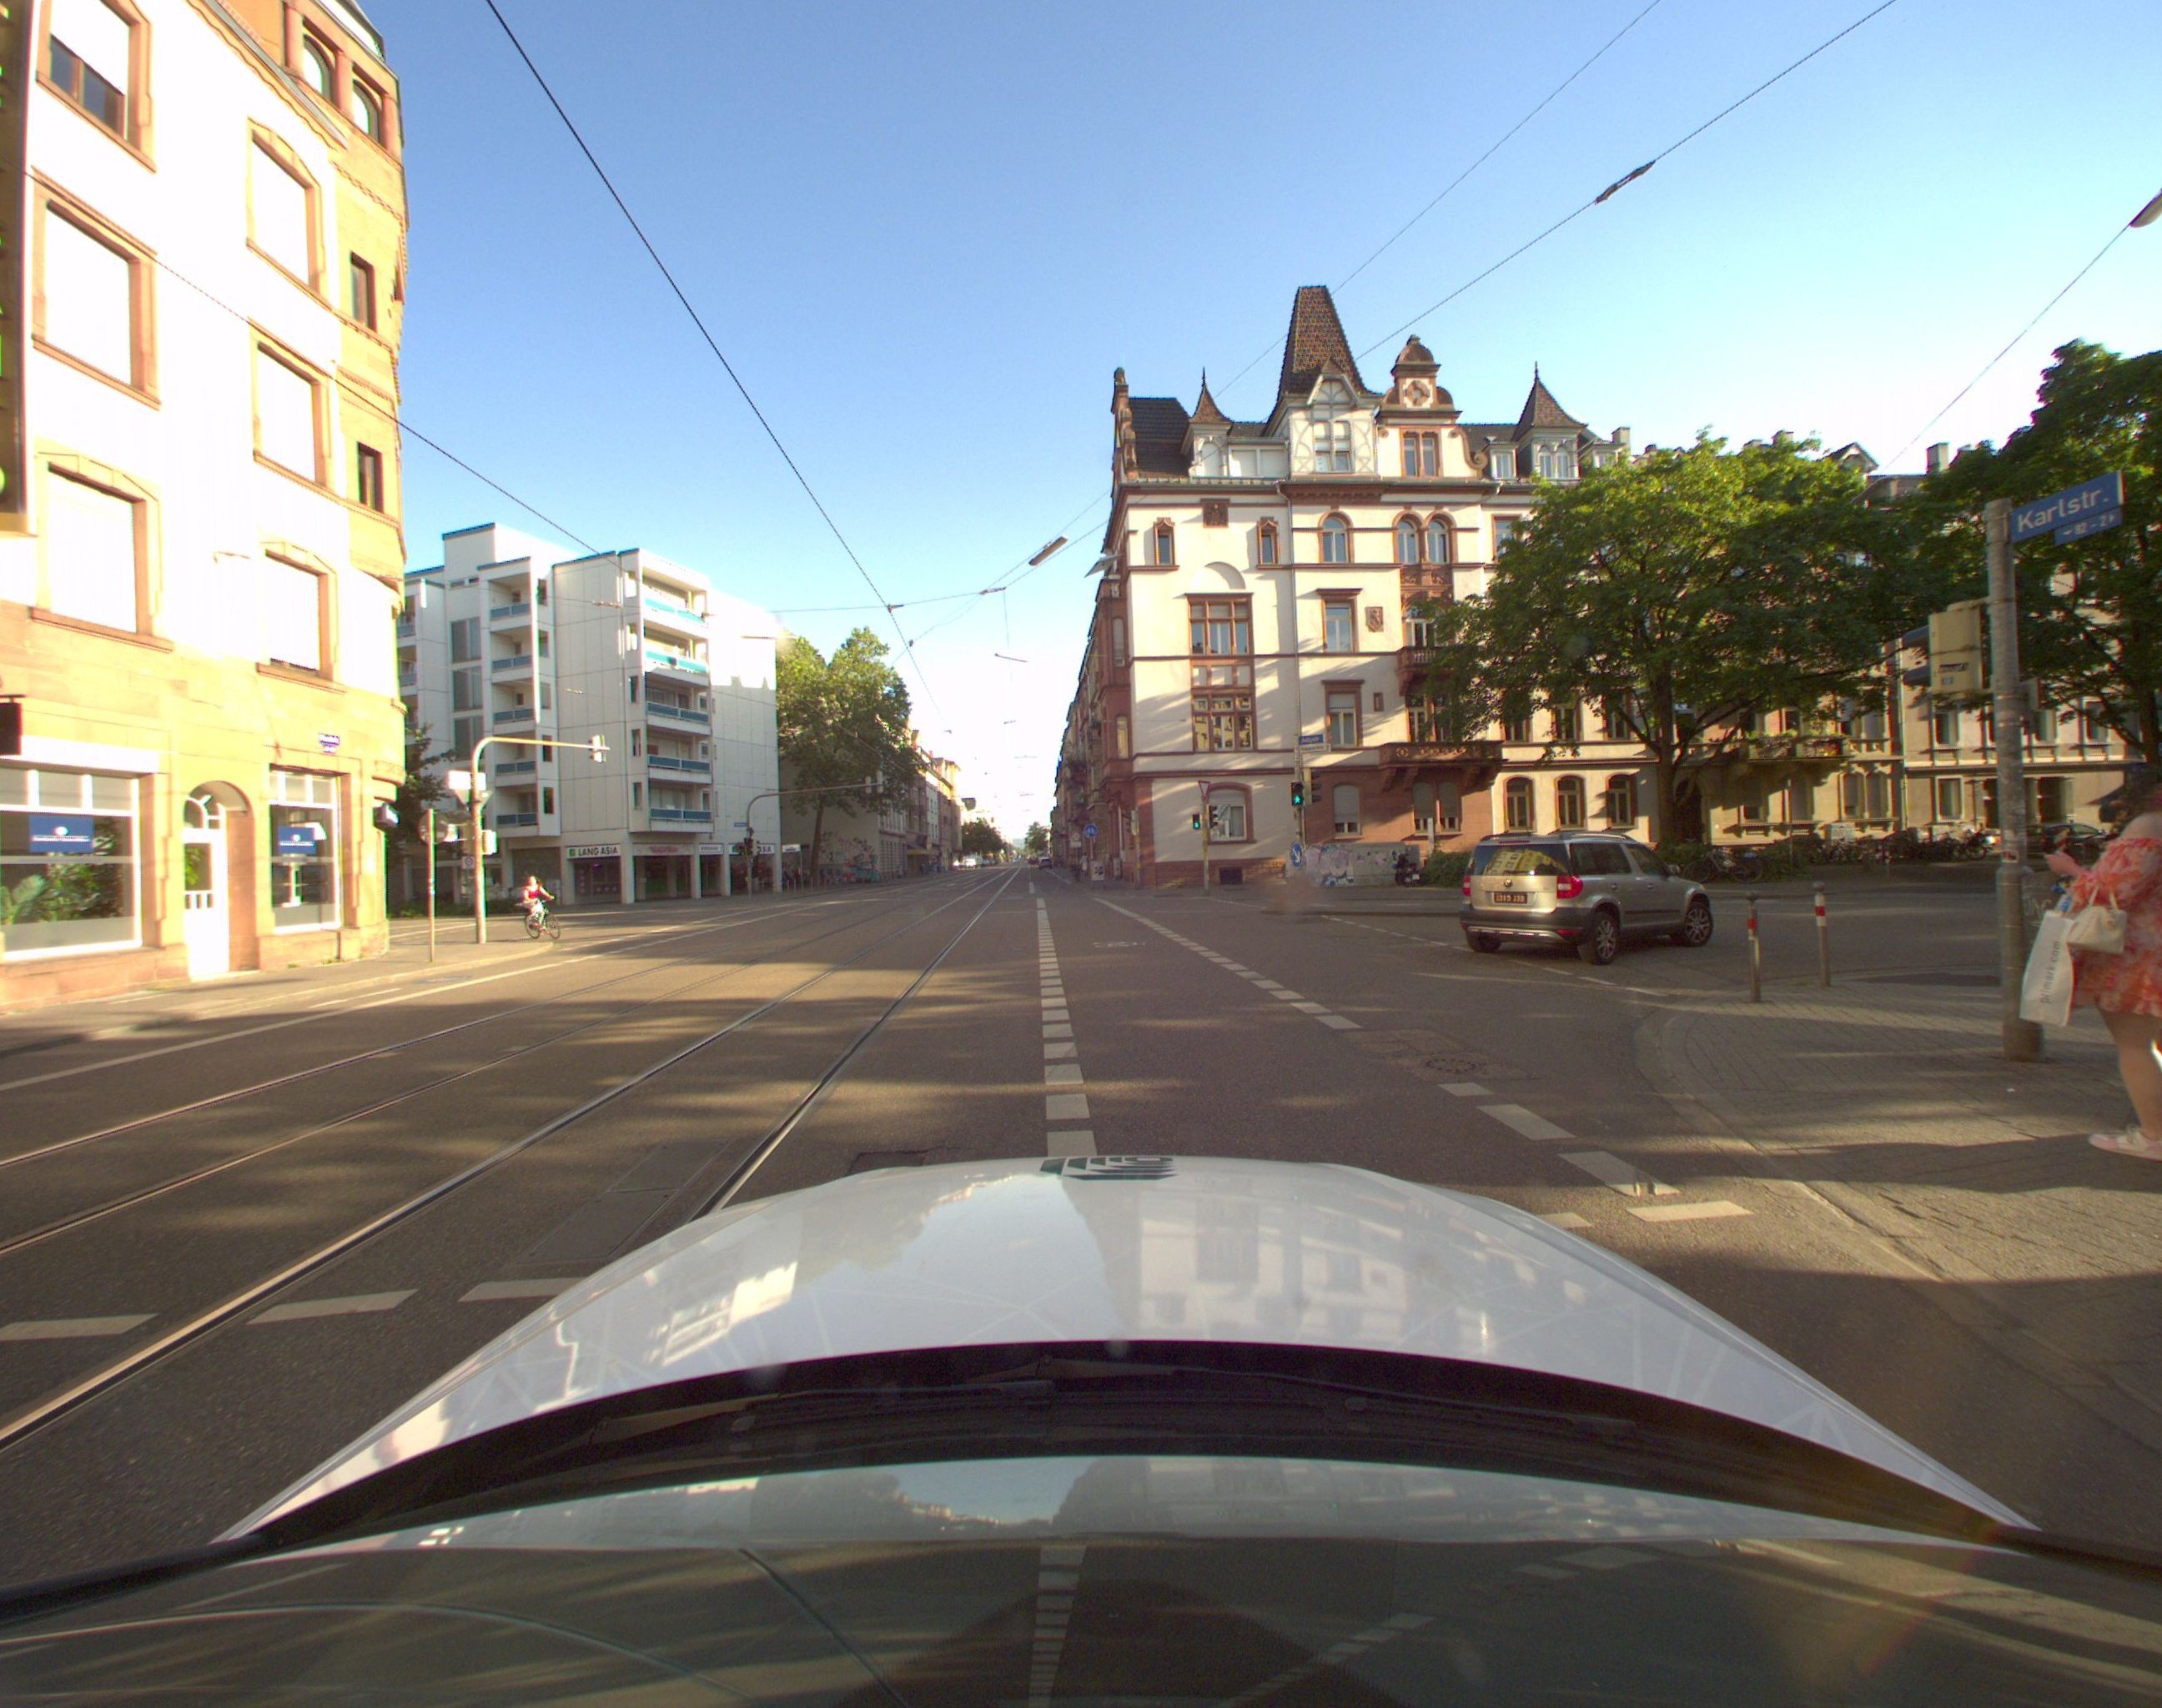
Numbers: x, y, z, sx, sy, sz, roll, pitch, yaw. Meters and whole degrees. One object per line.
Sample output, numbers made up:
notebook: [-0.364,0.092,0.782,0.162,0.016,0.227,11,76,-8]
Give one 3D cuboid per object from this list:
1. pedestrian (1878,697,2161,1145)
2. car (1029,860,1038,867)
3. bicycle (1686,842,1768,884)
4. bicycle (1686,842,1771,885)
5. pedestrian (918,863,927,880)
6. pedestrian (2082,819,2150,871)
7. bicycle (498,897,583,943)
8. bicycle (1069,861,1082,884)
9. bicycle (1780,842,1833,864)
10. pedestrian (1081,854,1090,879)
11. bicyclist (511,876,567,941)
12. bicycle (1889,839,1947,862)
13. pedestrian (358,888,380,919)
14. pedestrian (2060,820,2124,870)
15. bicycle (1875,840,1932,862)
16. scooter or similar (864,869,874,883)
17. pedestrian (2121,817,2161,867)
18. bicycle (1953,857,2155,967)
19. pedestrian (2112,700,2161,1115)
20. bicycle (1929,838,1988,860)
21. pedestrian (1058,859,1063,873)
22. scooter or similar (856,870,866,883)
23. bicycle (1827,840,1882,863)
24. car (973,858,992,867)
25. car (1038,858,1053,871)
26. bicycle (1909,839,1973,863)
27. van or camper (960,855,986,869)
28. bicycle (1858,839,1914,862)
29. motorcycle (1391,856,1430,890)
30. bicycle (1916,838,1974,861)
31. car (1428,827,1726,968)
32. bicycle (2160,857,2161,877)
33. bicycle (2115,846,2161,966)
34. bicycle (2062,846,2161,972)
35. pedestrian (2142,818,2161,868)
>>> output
pedestrian: [4.450,0.258,3.680,0.800,1.799,0.764,-6,0,10]
car: [-11.221,2.217,192.278,1.990,1.728,3.994,-2,-1,-4]
bicycle: [19.102,0.286,24.130,1.840,1.161,0.563,-3,1,34]
bicycle: [18.758,0.289,23.631,1.840,1.161,0.563,-3,1,34]
pedestrian: [-16.324,1.841,83.909,0.700,1.728,0.647,-2,-1,-4]
pedestrian: [30.531,-0.260,24.049,0.903,1.428,0.770,-6,-3,30]
bicycle: [-14.433,1.754,21.766,1.880,1.109,0.701,-2,-1,10]
bicycle: [-0.338,1.063,48.284,0.651,1.323,2.175,-2,0,-1]
bicycle: [29.810,-0.038,33.498,0.490,0.893,1.796,-2,0,-1]
pedestrian: [0.327,0.931,59.513,0.543,1.780,0.503,-2,-1,-3]
bicyclist: [-14.504,1.447,21.799,0.981,1.643,0.706,-3,-1,10]
bicycle: [34.866,-0.140,33.946,0.490,0.893,1.796,-2,0,-1]
pedestrian: [-39.932,2.758,45.663,0.641,1.696,0.665,-2,-1,19]
pedestrian: [30.995,-0.260,24.985,0.903,1.428,0.770,-6,-3,29]
bicycle: [34.196,-0.119,33.873,0.490,0.893,1.796,-2,0,-1]
scooter or similar: [-17.562,1.825,67.579,0.516,1.057,1.475,-2,0,-5]
pedestrian: [32.075,-0.362,24.324,0.903,1.428,0.770,-6,-3,29]
bicycle: [9.990,0.578,8.421,0.774,1.045,1.064,-2,-2,6]
pedestrian: [5.275,0.241,3.529,0.686,1.909,0.672,-1,-1,9]
bicycle: [36.722,-0.195,34.097,0.490,0.893,1.796,-2,0,-1]
pedestrian: [-2.707,1.617,107.185,0.543,1.780,0.748,-2,-1,-3]
scooter or similar: [-18.206,1.850,67.496,0.516,1.045,1.475,-2,0,-5]
bicycle: [31.753,-0.098,33.473,0.490,0.893,1.796,-2,0,-1]
car: [-24.359,2.122,201.442,4.011,2.013,1.981,-2,-1,-29]
car: [-5.097,1.500,117.376,1.945,1.684,3.996,-2,0,-2]
bicycle: [34.421,-0.106,32.620,1.780,0.893,0.495,-2,-1,11]
van or camper: [-22.072,1.643,166.461,4.669,2.563,1.978,-1,-1,-35]
bicycle: [33.250,-0.141,33.665,0.490,0.893,1.796,-2,0,-1]
motorcycle: [11.526,0.637,28.572,0.715,1.020,2.292,-2,2,8]
bicycle: [36.064,-0.176,34.022,0.490,0.893,1.796,-2,0,-1]
car: [7.067,0.463,11.542,4.013,1.618,1.981,-2,2,-31]
bicycle: [11.754,0.550,7.868,0.447,1.111,1.611,-2,-2,1]
bicycle: [11.242,0.507,7.690,0.447,1.223,1.920,-2,-2,1]
bicycle: [10.725,0.523,7.709,0.502,1.223,1.920,-2,-2,1]
pedestrian: [31.448,-0.347,23.342,0.903,1.428,0.770,-6,-3,30]
